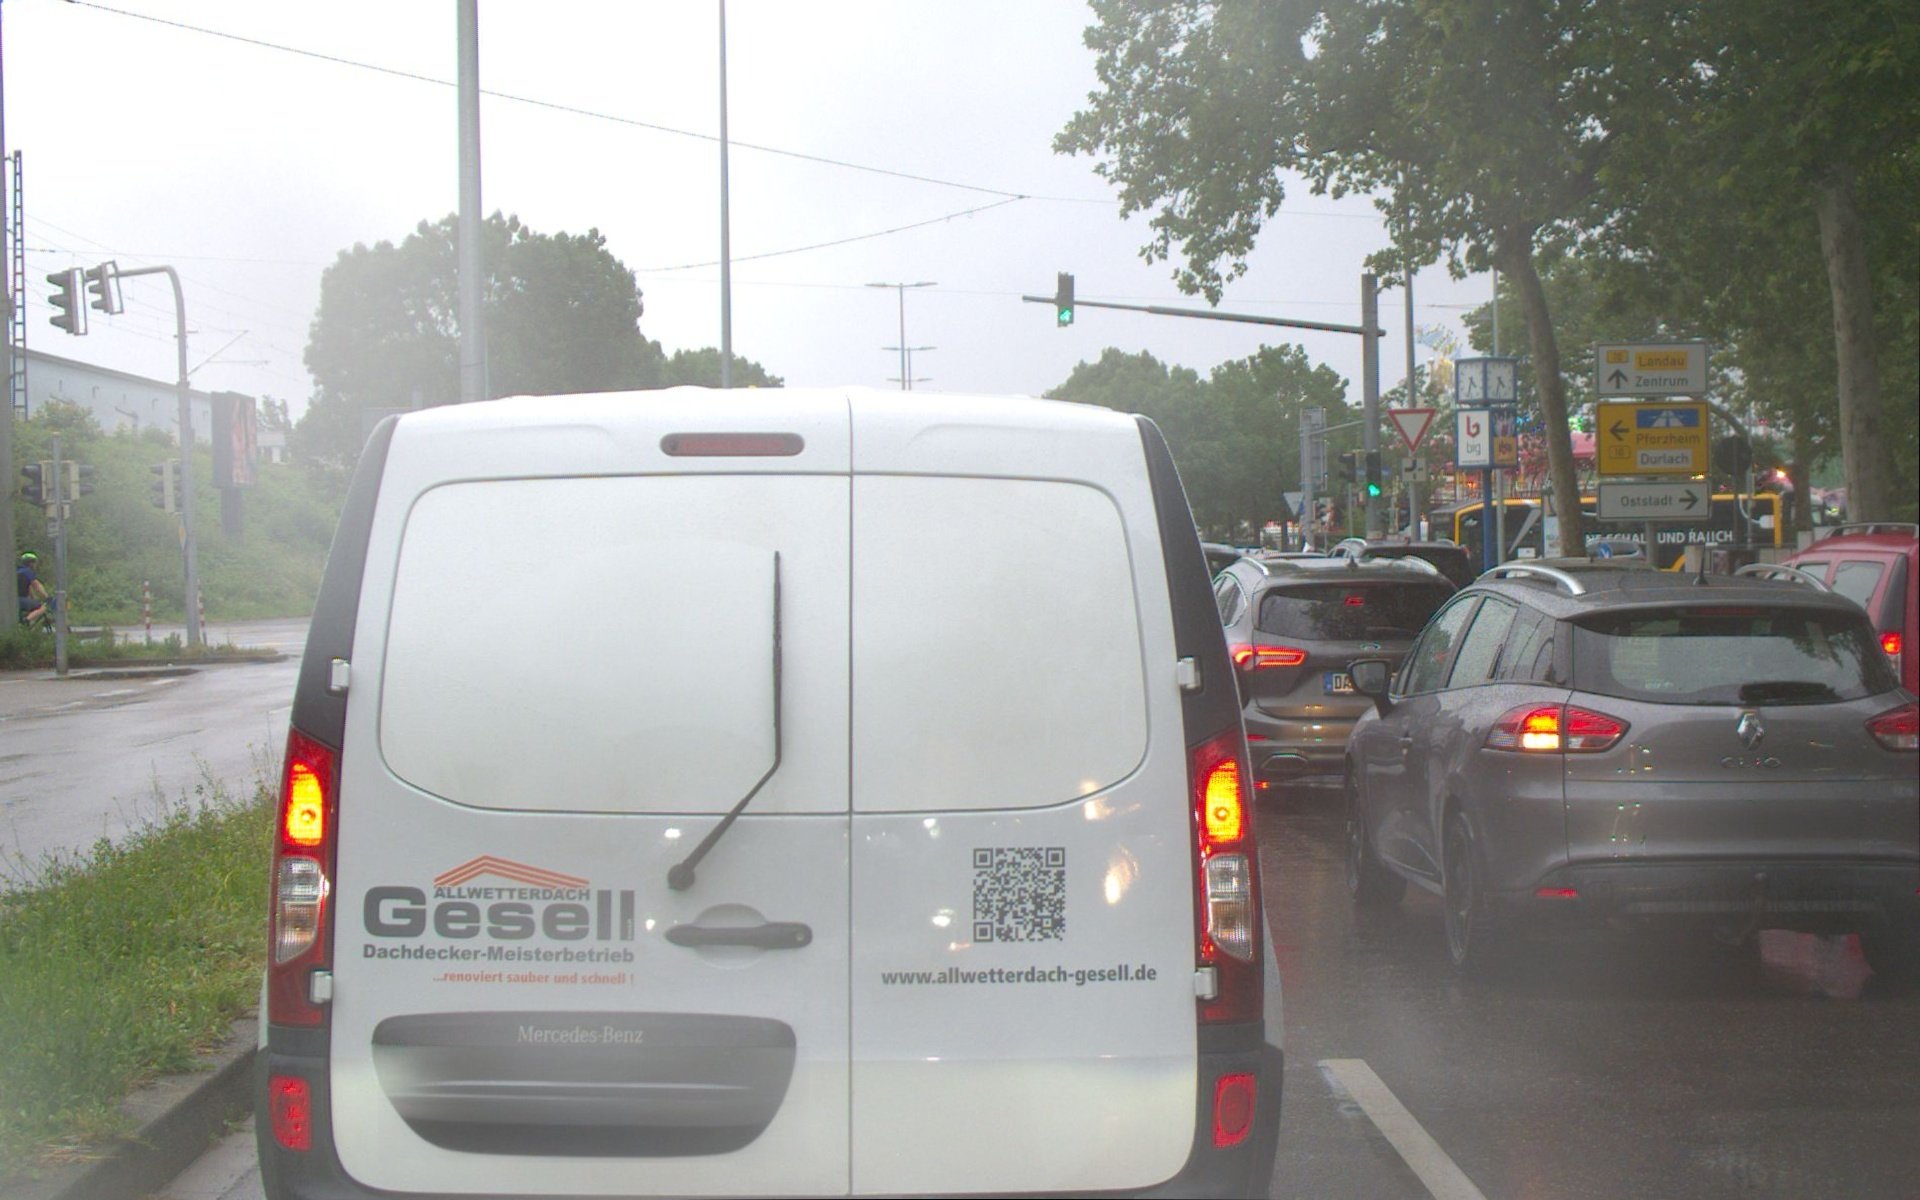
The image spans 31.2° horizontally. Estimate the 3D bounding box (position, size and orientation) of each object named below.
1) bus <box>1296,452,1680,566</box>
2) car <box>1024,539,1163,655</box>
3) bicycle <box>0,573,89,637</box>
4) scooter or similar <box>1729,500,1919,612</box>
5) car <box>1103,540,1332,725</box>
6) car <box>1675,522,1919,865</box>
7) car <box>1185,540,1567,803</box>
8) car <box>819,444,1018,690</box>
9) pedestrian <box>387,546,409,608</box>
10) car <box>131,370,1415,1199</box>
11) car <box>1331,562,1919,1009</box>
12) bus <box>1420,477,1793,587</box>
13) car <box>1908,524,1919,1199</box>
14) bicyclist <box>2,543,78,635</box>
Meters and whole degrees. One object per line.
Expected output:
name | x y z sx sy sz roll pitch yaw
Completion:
bus | 16.964 -2.930 110.876 11.970 3.411 2.315 -1 1 0
car | 1.924 -0.064 50.553 1.854 1.644 3.843 0 1 -1
bicycle | -14.883 0.061 55.543 1.040 0.949 2.889 -2 2 -25
scooter or similar | 19.990 -0.994 77.062 1.890 2.437 5.316 -1 1 -41
car | 2.403 0.258 32.930 1.854 1.644 3.843 0 1 -1
car | 5.300 0.459 19.068 1.710 1.688 4.272 1 0 -1
car | 2.468 0.371 21.277 1.854 1.455 3.843 0 1 -1
car | -0.412 -0.348 34.054 1.854 2.288 3.843 0 1 -1
pedestrian | -15.701 -0.649 96.106 0.543 1.710 0.563 1 0 -4
car | -0.313 0.482 7.652 1.993 1.770 4.585 0 1 -1
car | 2.518 0.585 13.123 1.683 1.403 3.843 1 1 -1
bus | 21.613 -2.282 115.134 11.969 3.411 2.483 -1 1 -4
car | 2.979 0.649 5.410 1.747 1.549 4.091 0 1 -1
bicyclist | -14.850 -0.189 55.482 1.040 1.445 0.729 -2 2 -25
